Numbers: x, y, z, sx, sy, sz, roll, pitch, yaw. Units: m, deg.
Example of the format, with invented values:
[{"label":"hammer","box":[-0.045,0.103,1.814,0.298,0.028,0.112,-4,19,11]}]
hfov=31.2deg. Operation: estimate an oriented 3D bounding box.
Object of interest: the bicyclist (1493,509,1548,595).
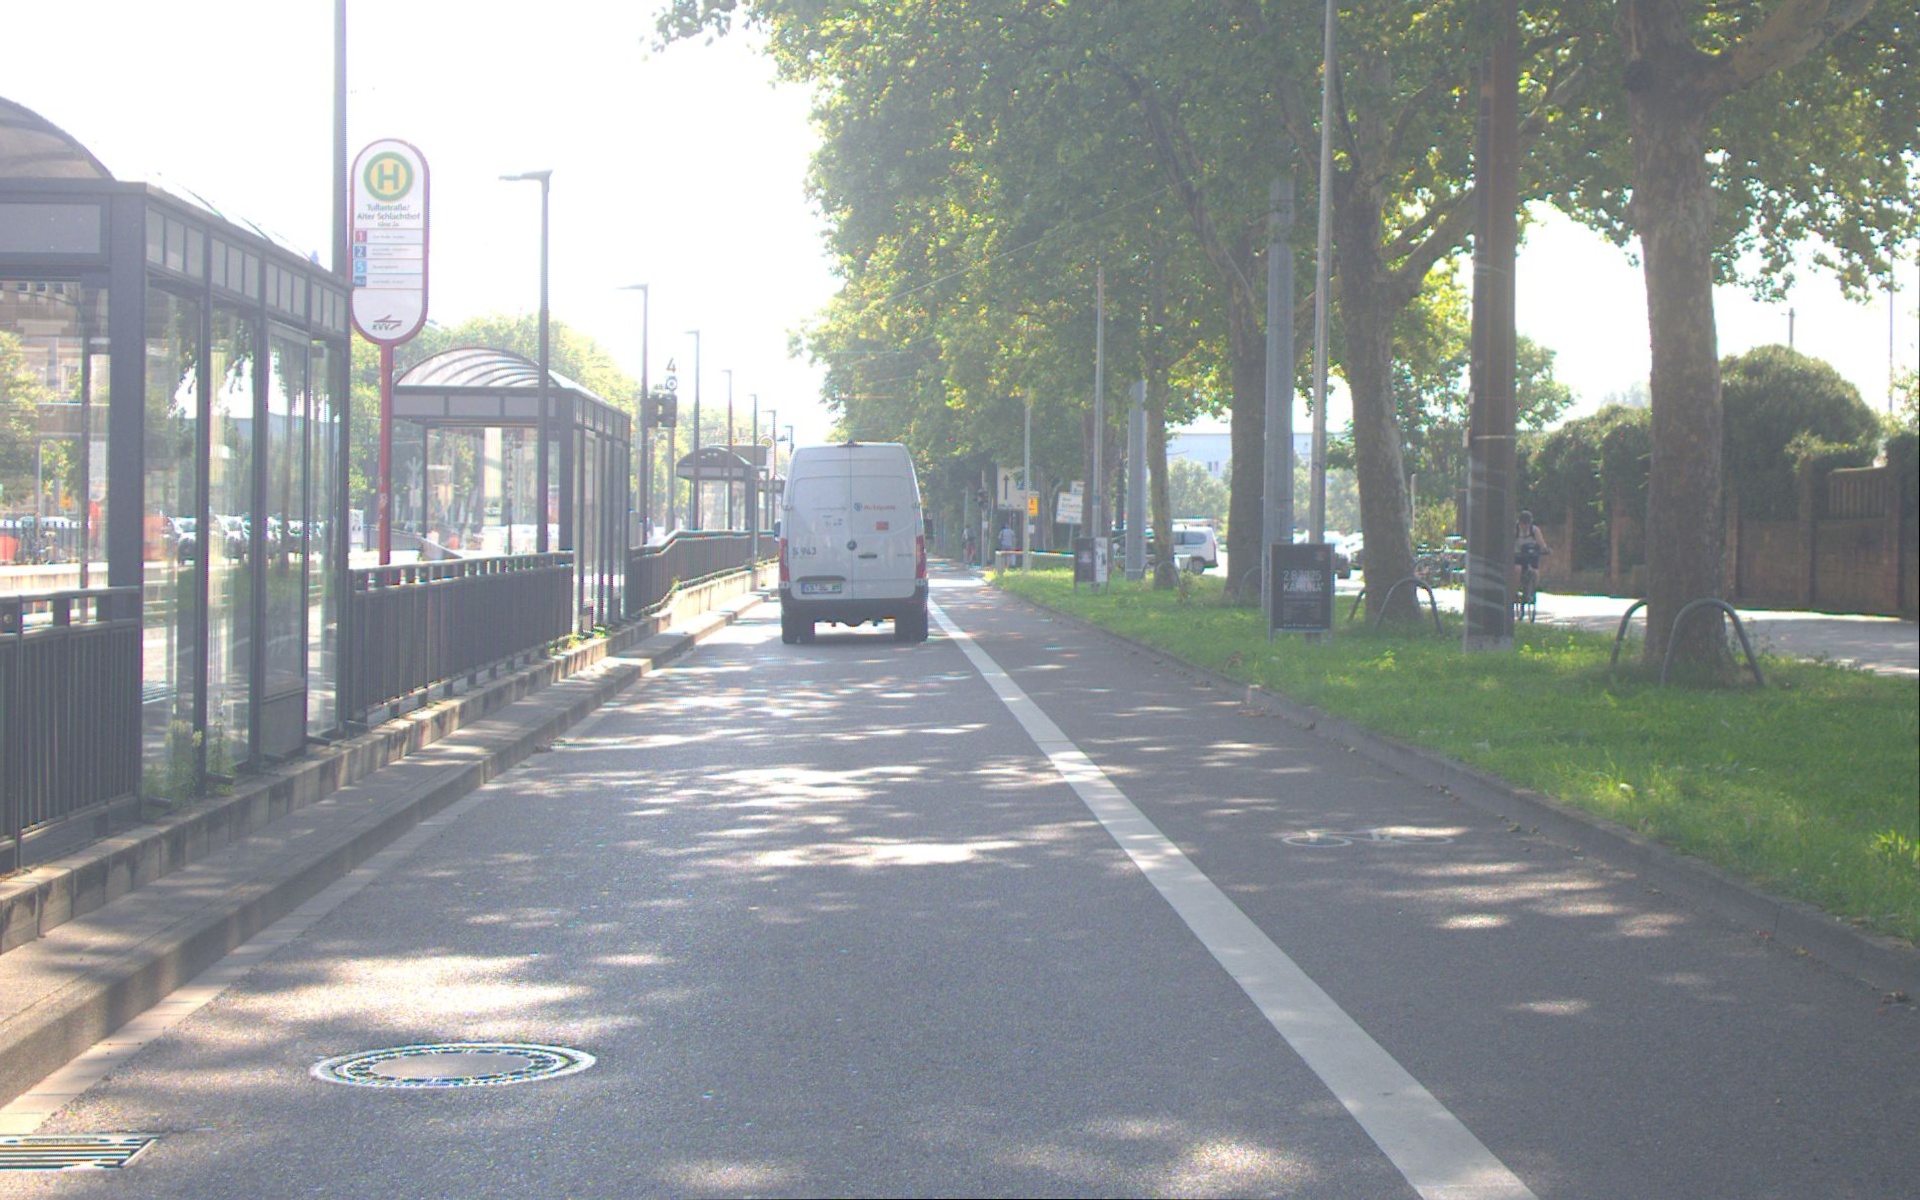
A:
[{"label":"bicyclist","box":[8.431,-0.725,51.719,0.669,1.272,0.728,0,1,-3]}]

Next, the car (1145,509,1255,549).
[{"label":"car","box":[9.184,-2.702,131.841,3.986,1.371,2.000,2,0,-2]}]

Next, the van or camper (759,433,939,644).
[{"label":"van or camper","box":[-1.592,-0.863,47.313,2.115,2.672,5.251,-2,1,-5]}]

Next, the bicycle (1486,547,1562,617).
[{"label":"bicycle","box":[8.445,-0.276,51.579,0.681,1.001,2.218,0,1,-3]}]

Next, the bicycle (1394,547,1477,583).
[{"label":"bicycle","box":[11.296,-0.825,81.698,1.932,0.844,0.372,0,1,-1]}]

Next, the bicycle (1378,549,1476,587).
[{"label":"bicycle","box":[10.693,-0.732,78.704,2.180,0.844,0.503,0,1,-1]}]
